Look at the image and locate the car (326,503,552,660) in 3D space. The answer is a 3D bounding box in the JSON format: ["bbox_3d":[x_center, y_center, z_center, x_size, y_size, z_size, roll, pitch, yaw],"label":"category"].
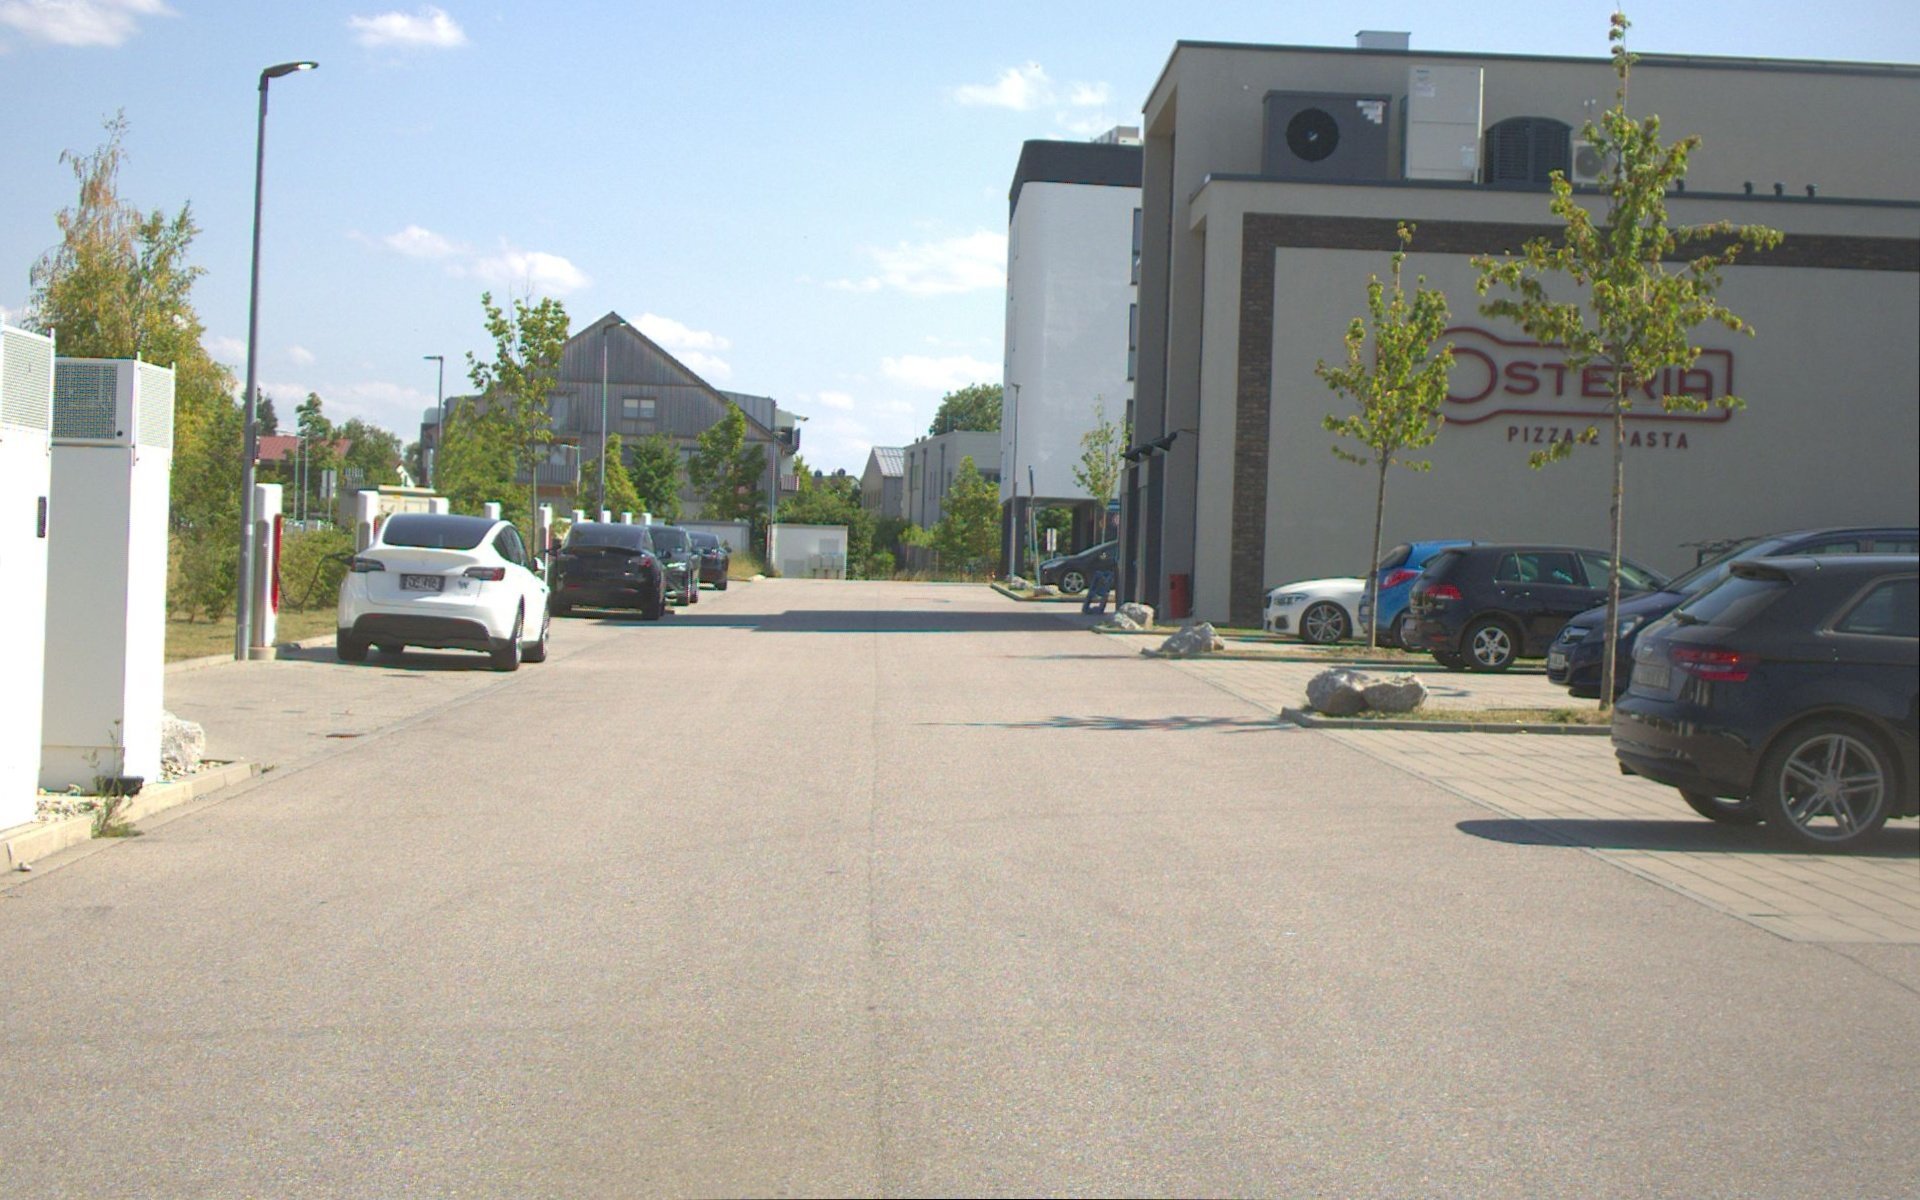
[{"bbox_3d":[-5.664,-0.234,37.802,1.944,1.563,4.001,2,1,-2],"label":"car"}]

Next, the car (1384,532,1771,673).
[{"bbox_3d":[6.974,0.013,39.035,3.986,1.415,1.651,2,1,-4],"label":"car"}]

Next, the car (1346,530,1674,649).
[{"bbox_3d":[7.317,-0.151,45.938,3.986,1.415,1.651,2,1,-4],"label":"car"}]

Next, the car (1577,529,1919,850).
[{"bbox_3d":[5.327,0.459,16.869,4.200,1.436,1.698,2,1,-2],"label":"car"}]

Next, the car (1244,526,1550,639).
[{"bbox_3d":[6.159,-0.260,48.688,3.986,1.415,1.651,2,1,-4],"label":"car"}]

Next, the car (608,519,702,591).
[{"bbox_3d":[-6.268,-0.948,71.057,1.742,1.382,4.001,2,1,-3],"label":"car"}]

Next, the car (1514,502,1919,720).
[{"bbox_3d":[7.089,0.100,29.154,4.369,1.679,1.642,2,1,-6],"label":"car"}]

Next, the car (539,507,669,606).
[{"bbox_3d":[-6.092,-0.769,59.178,1.944,1.563,4.001,2,1,-3],"label":"car"}]

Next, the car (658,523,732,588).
[{"bbox_3d":[-6.758,-1.149,88.009,1.742,1.563,4.001,2,1,-3],"label":"car"}]

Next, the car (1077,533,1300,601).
[{"bbox_3d":[4.308,-0.635,65.178,3.986,1.152,2.000,2,1,-3],"label":"car"}]
